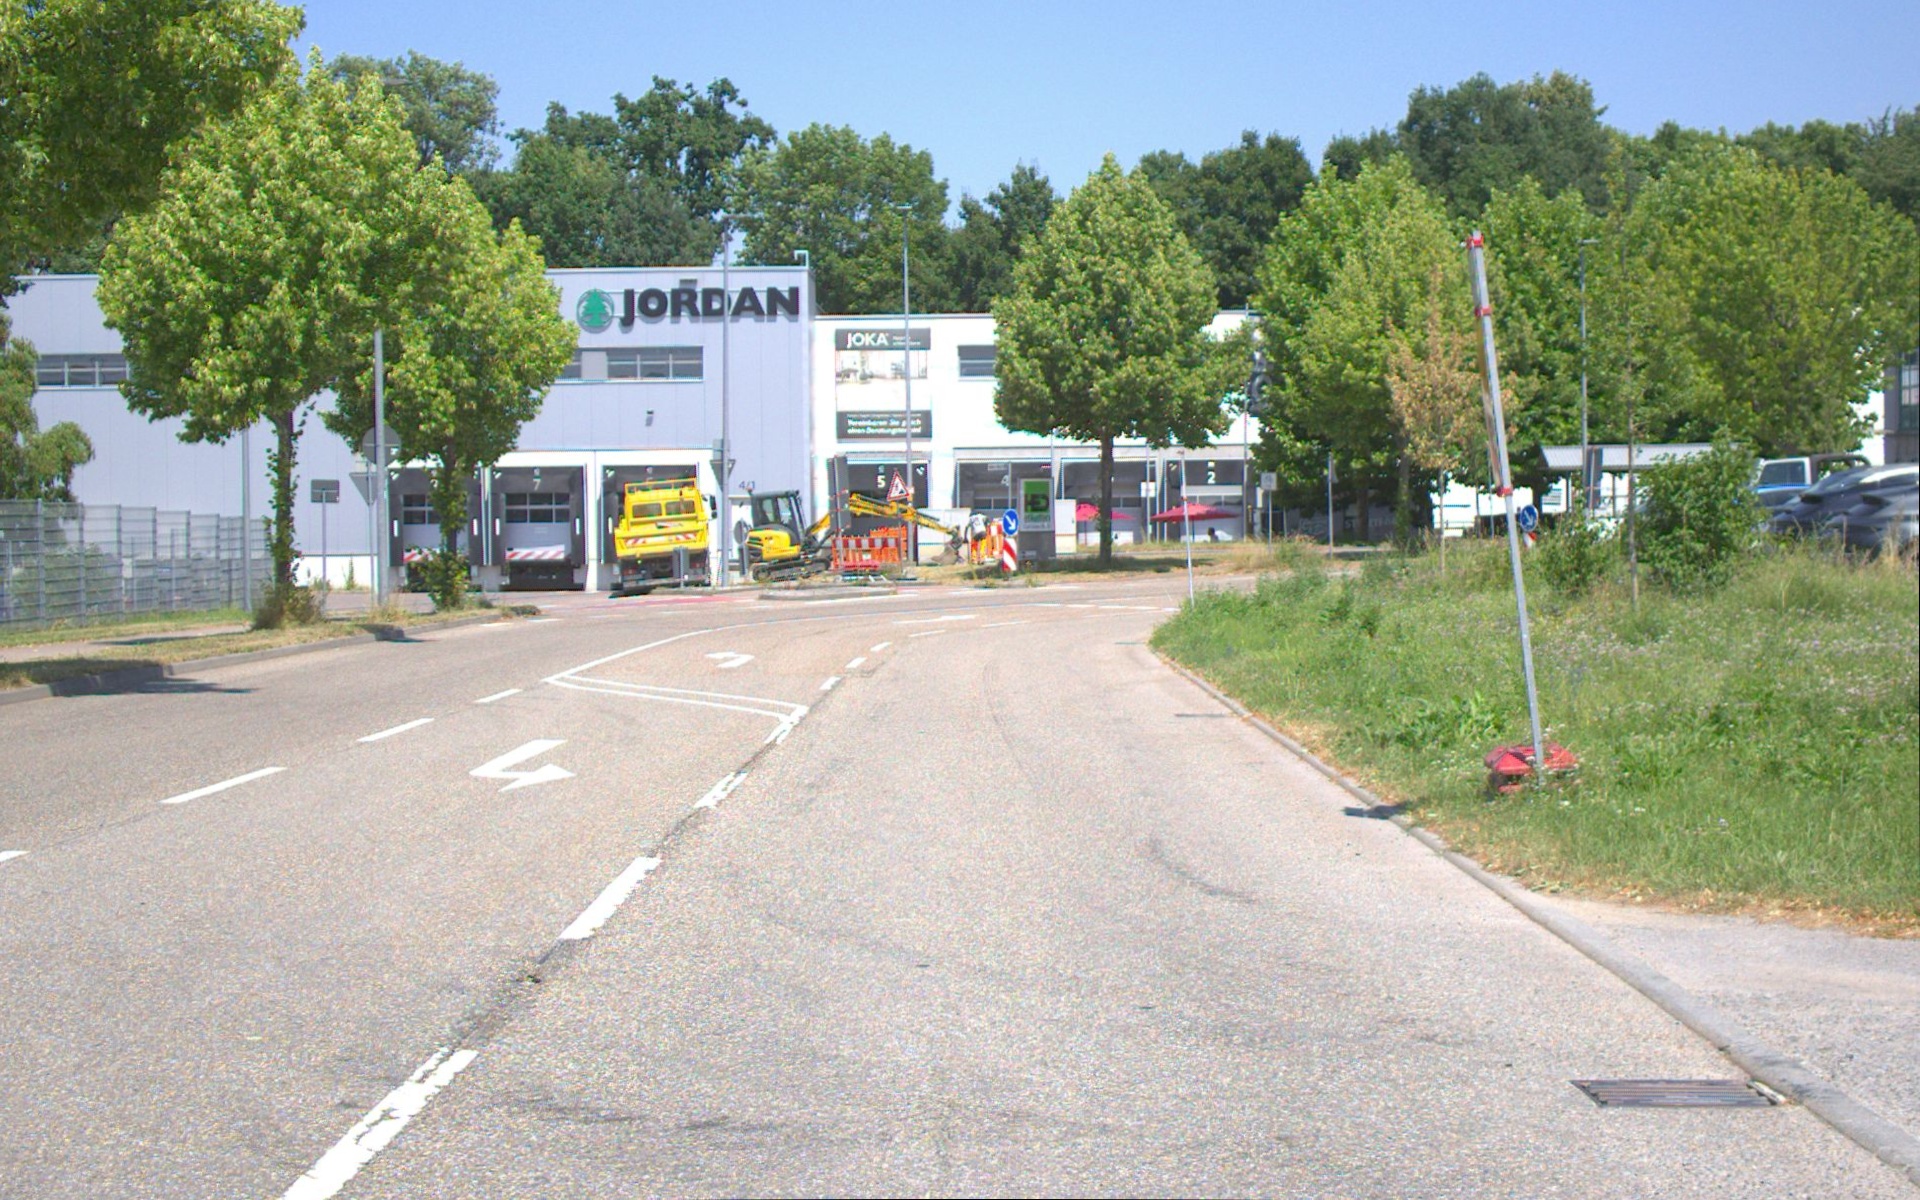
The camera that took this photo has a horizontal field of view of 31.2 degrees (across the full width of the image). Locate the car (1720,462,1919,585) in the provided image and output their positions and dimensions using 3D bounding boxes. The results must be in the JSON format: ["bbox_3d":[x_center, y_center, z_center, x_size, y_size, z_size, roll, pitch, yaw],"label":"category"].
[{"bbox_3d":[12.268,-1.052,45.059,4.162,1.395,1.769,-2,5,-3],"label":"car"}]

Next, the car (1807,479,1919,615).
[{"bbox_3d":[12.303,-0.686,39.437,4.704,1.395,1.922,-2,5,3],"label":"car"}]

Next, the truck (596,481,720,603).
[{"bbox_3d":[-8.337,-1.636,94.458,2.938,2.875,5.812,-3,5,-8],"label":"truck"}]

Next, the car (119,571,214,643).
[{"bbox_3d":[-21.495,0.157,93.272,1.993,1.546,4.002,-3,5,-6],"label":"car"}]

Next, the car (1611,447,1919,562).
[{"bbox_3d":[11.695,-1.391,49.696,4.162,1.395,1.769,-2,5,-3],"label":"car"}]

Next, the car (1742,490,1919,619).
[{"bbox_3d":[12.008,-0.619,42.627,4.162,1.395,1.769,-2,5,-3],"label":"car"}]

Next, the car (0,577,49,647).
[{"bbox_3d":[-26.043,0.347,93.125,1.993,1.546,4.002,-3,5,-6],"label":"car"}]

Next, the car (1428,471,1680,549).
[{"bbox_3d":[17.719,-2.671,102.794,7.172,2.081,2.000,-2,1,4],"label":"car"}]

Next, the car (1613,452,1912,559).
[{"bbox_3d":[12.411,-1.487,53.305,4.162,1.395,1.769,-2,5,-3],"label":"car"}]

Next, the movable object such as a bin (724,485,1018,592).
[{"bbox_3d":[-2.395,-1.722,94.843,7.528,2.491,3.666,-2,5,9],"label":"movable object such as a bin"}]
